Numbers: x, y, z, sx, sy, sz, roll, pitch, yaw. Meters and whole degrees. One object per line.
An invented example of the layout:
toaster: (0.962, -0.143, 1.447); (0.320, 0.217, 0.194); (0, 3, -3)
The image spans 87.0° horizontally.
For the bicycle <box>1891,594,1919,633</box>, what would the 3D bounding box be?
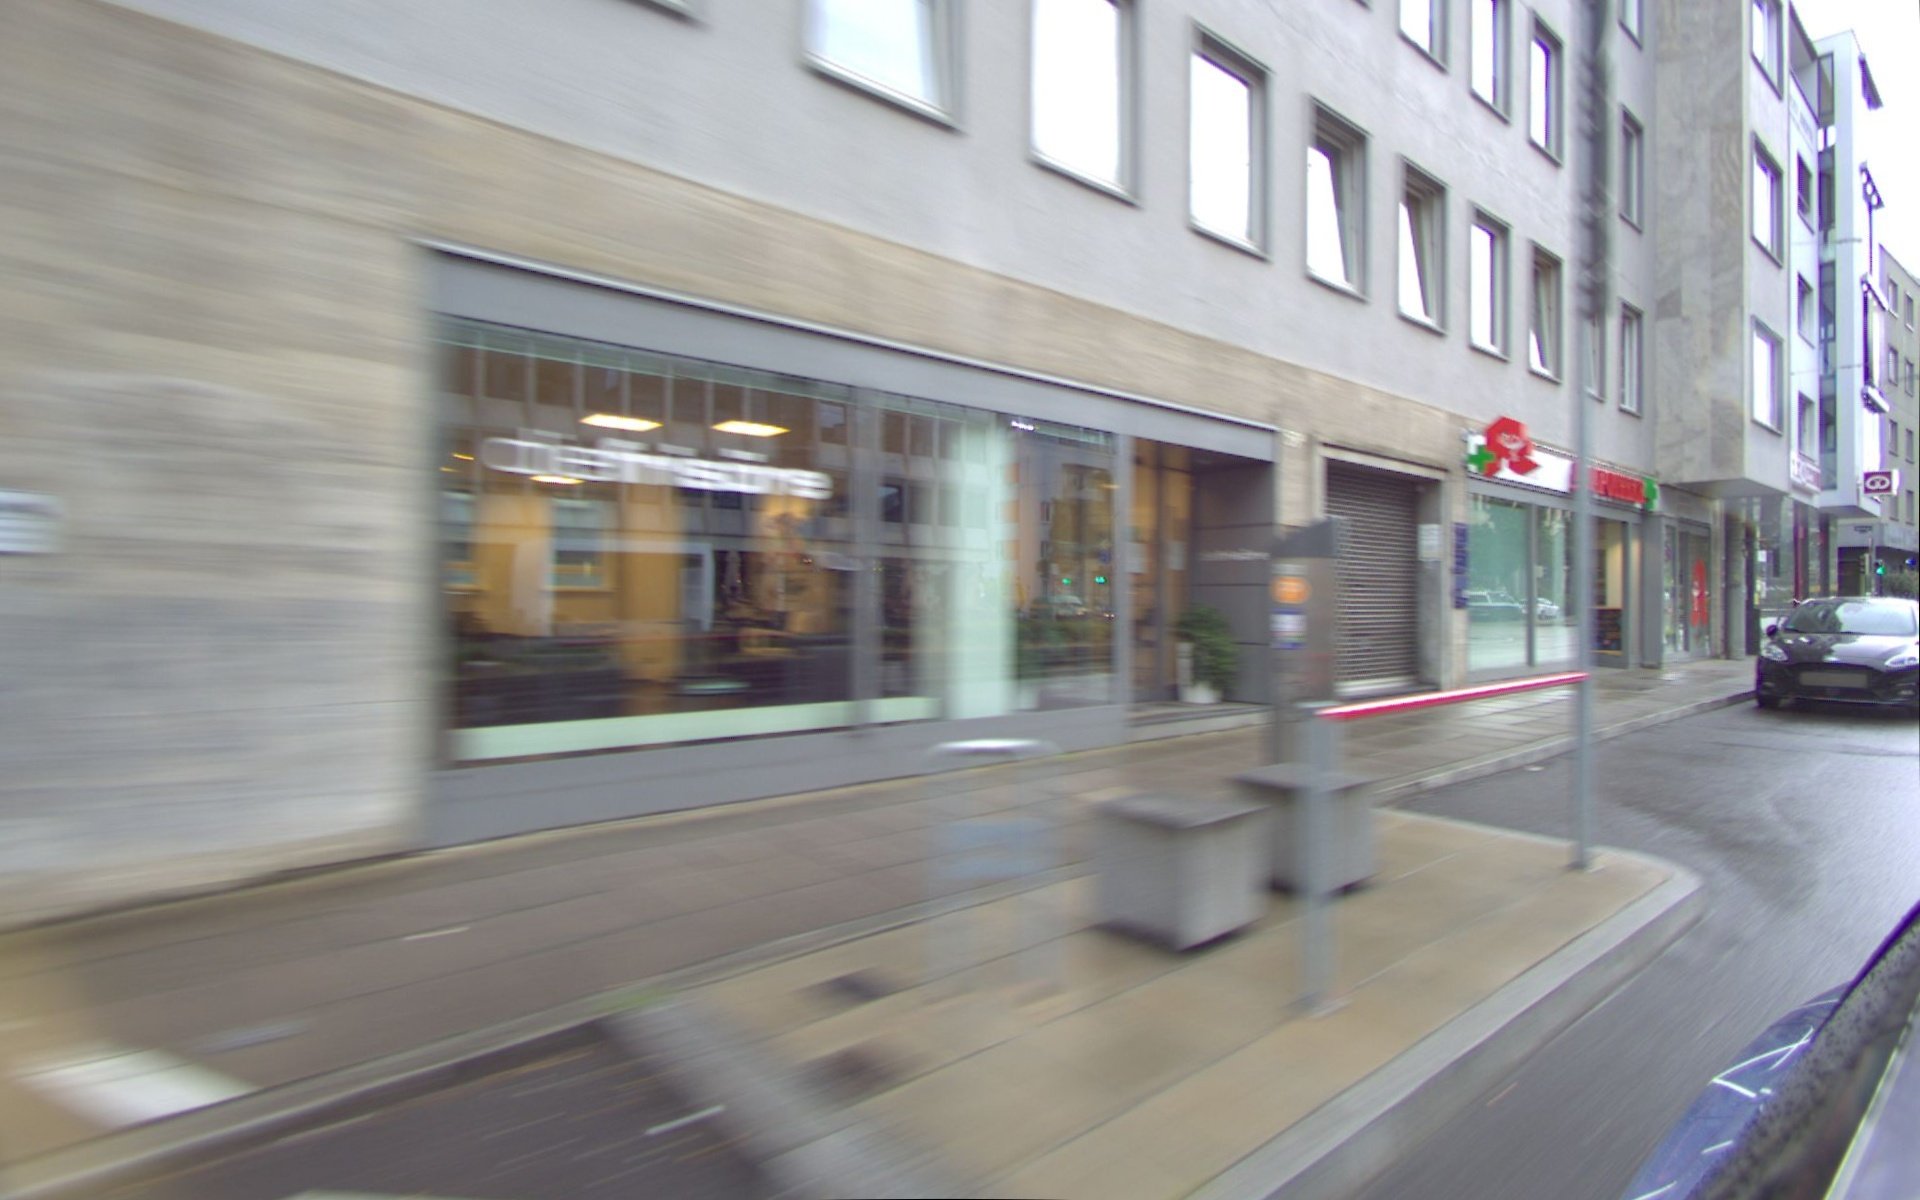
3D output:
bicycle: (30.258, 0.423, 31.789); (0.569, 1.172, 1.949); (-1, 0, 13)

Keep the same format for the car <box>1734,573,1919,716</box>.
car: (12.158, 0.463, 13.579); (4.197, 1.613, 1.997); (-2, 2, -41)
